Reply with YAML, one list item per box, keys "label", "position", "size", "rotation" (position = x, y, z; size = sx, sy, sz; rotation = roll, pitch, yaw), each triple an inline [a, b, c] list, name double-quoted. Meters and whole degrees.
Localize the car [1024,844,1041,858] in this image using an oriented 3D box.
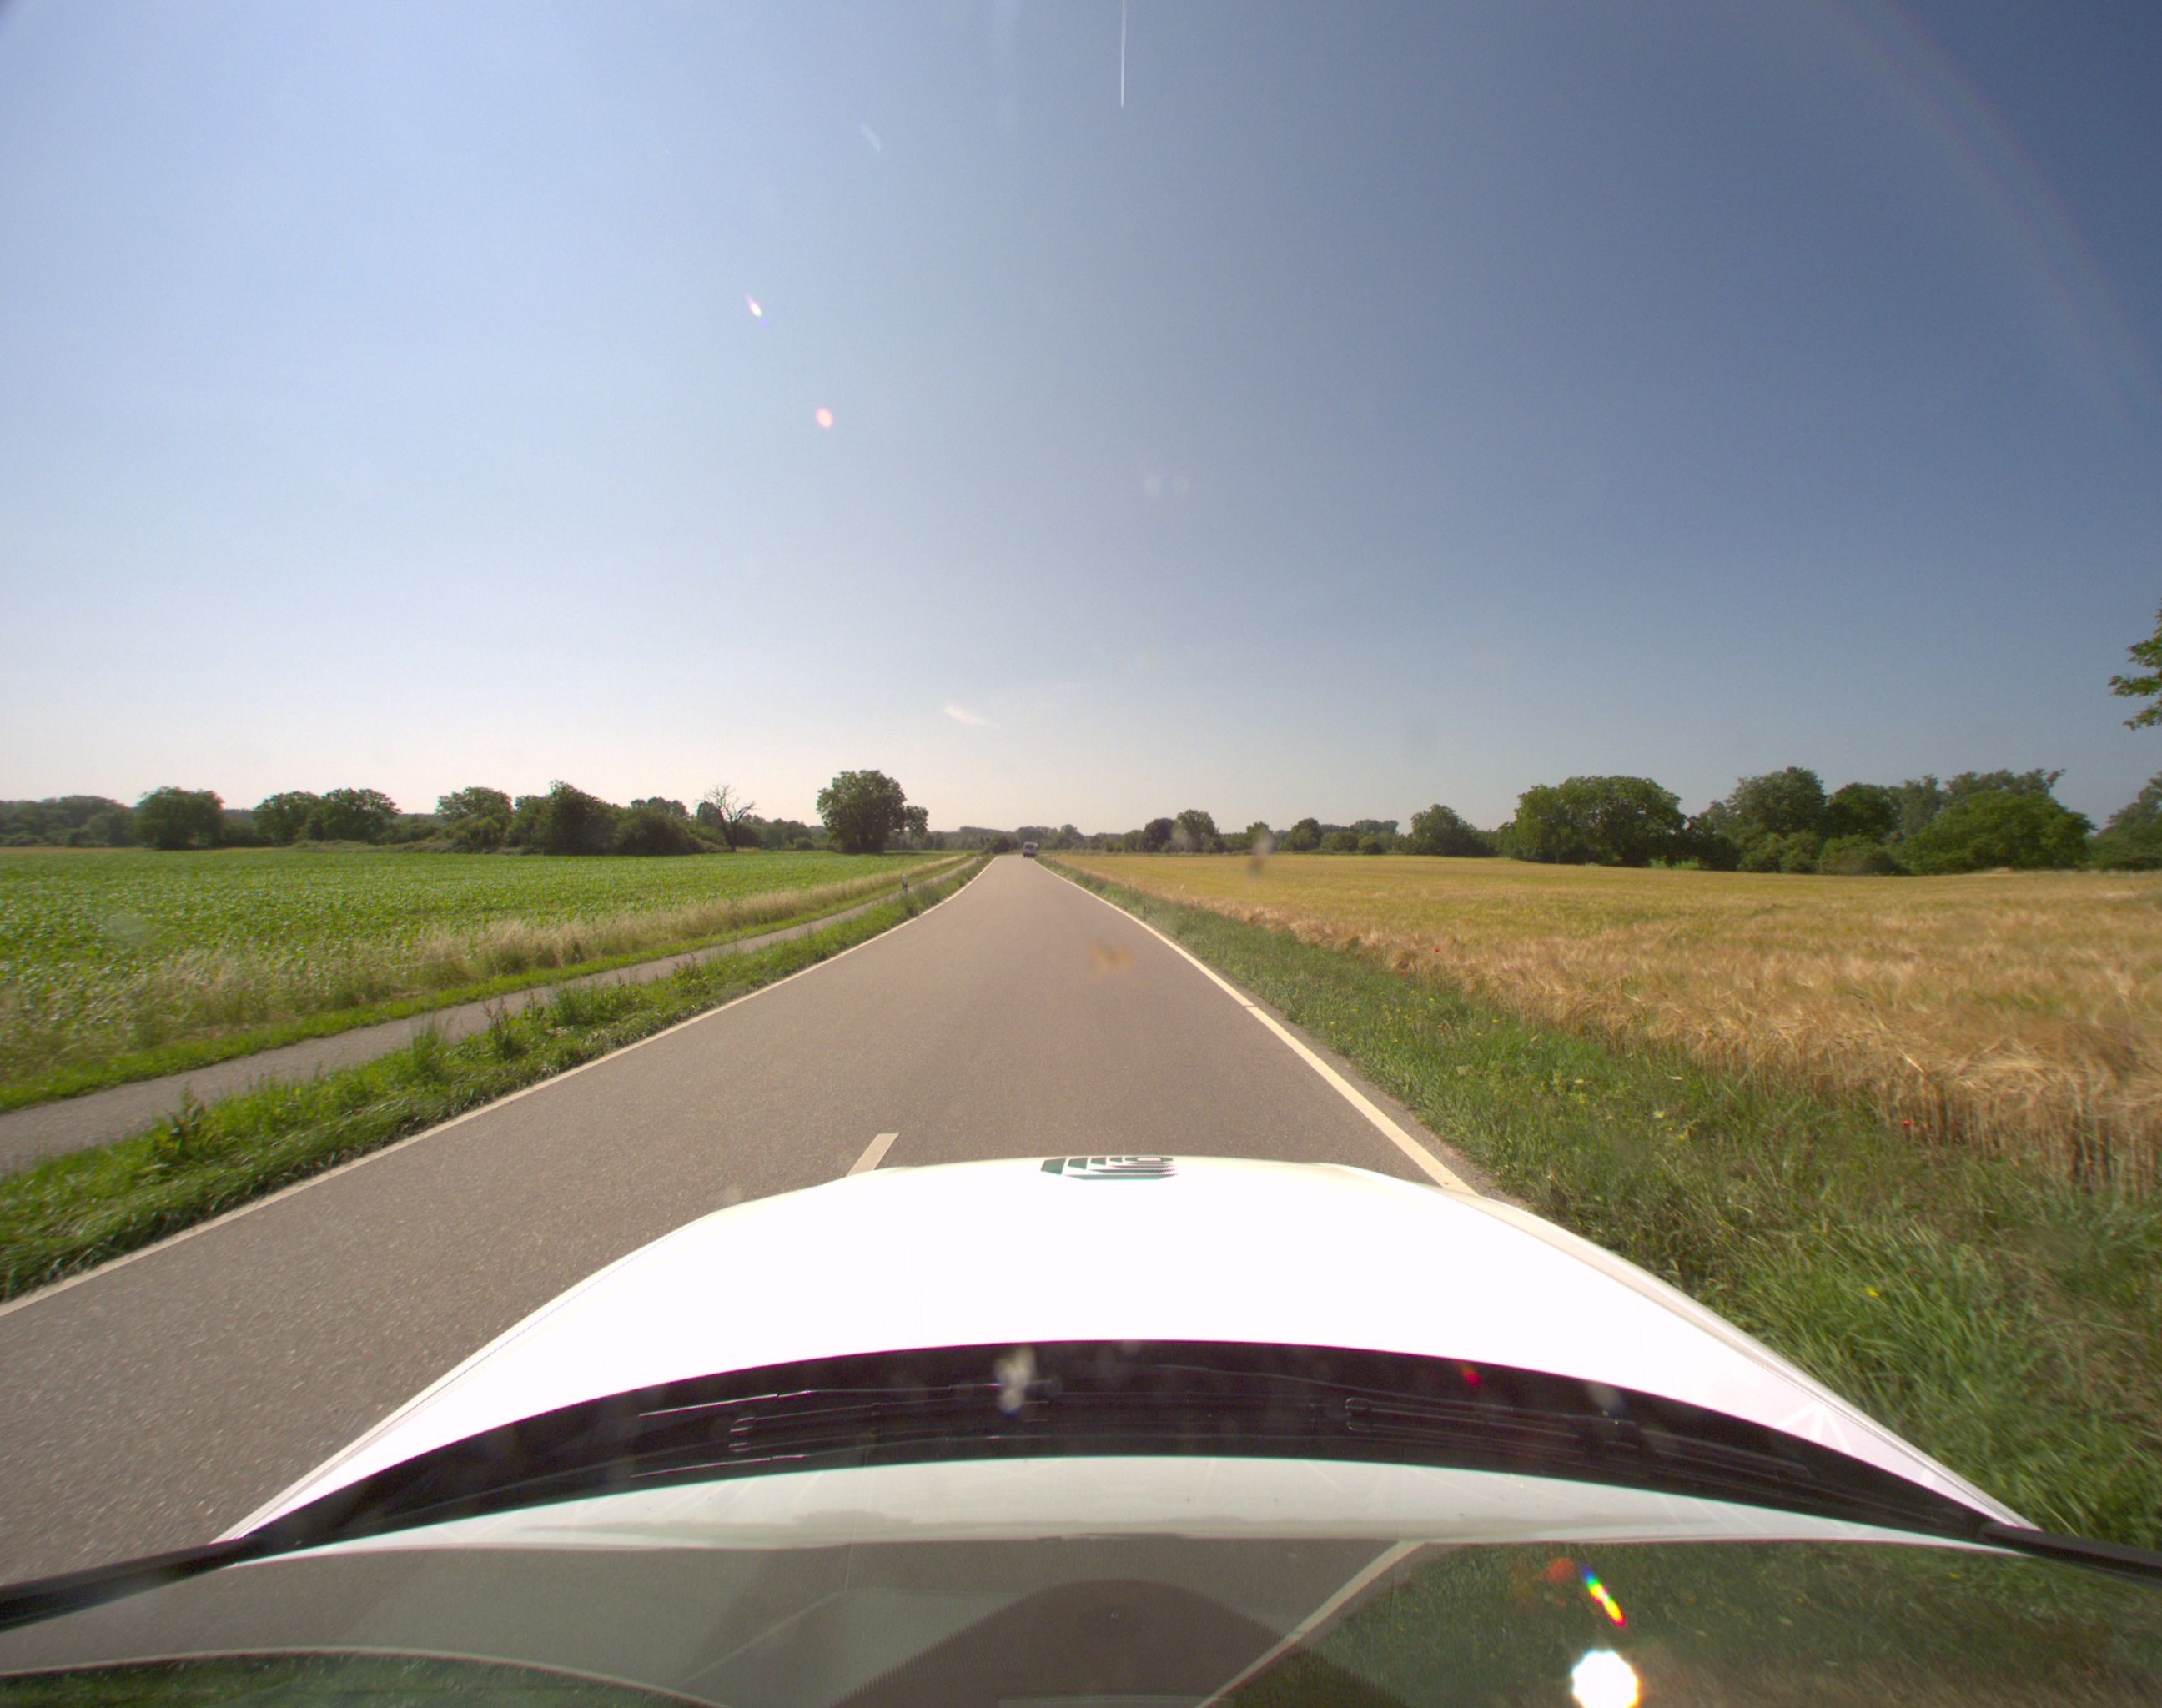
- label: "car"
  position: [-8.059, -0.477, 135.789]
  size: [2.094, 2.367, 5.695]
  rotation: [0, 0, 5]
